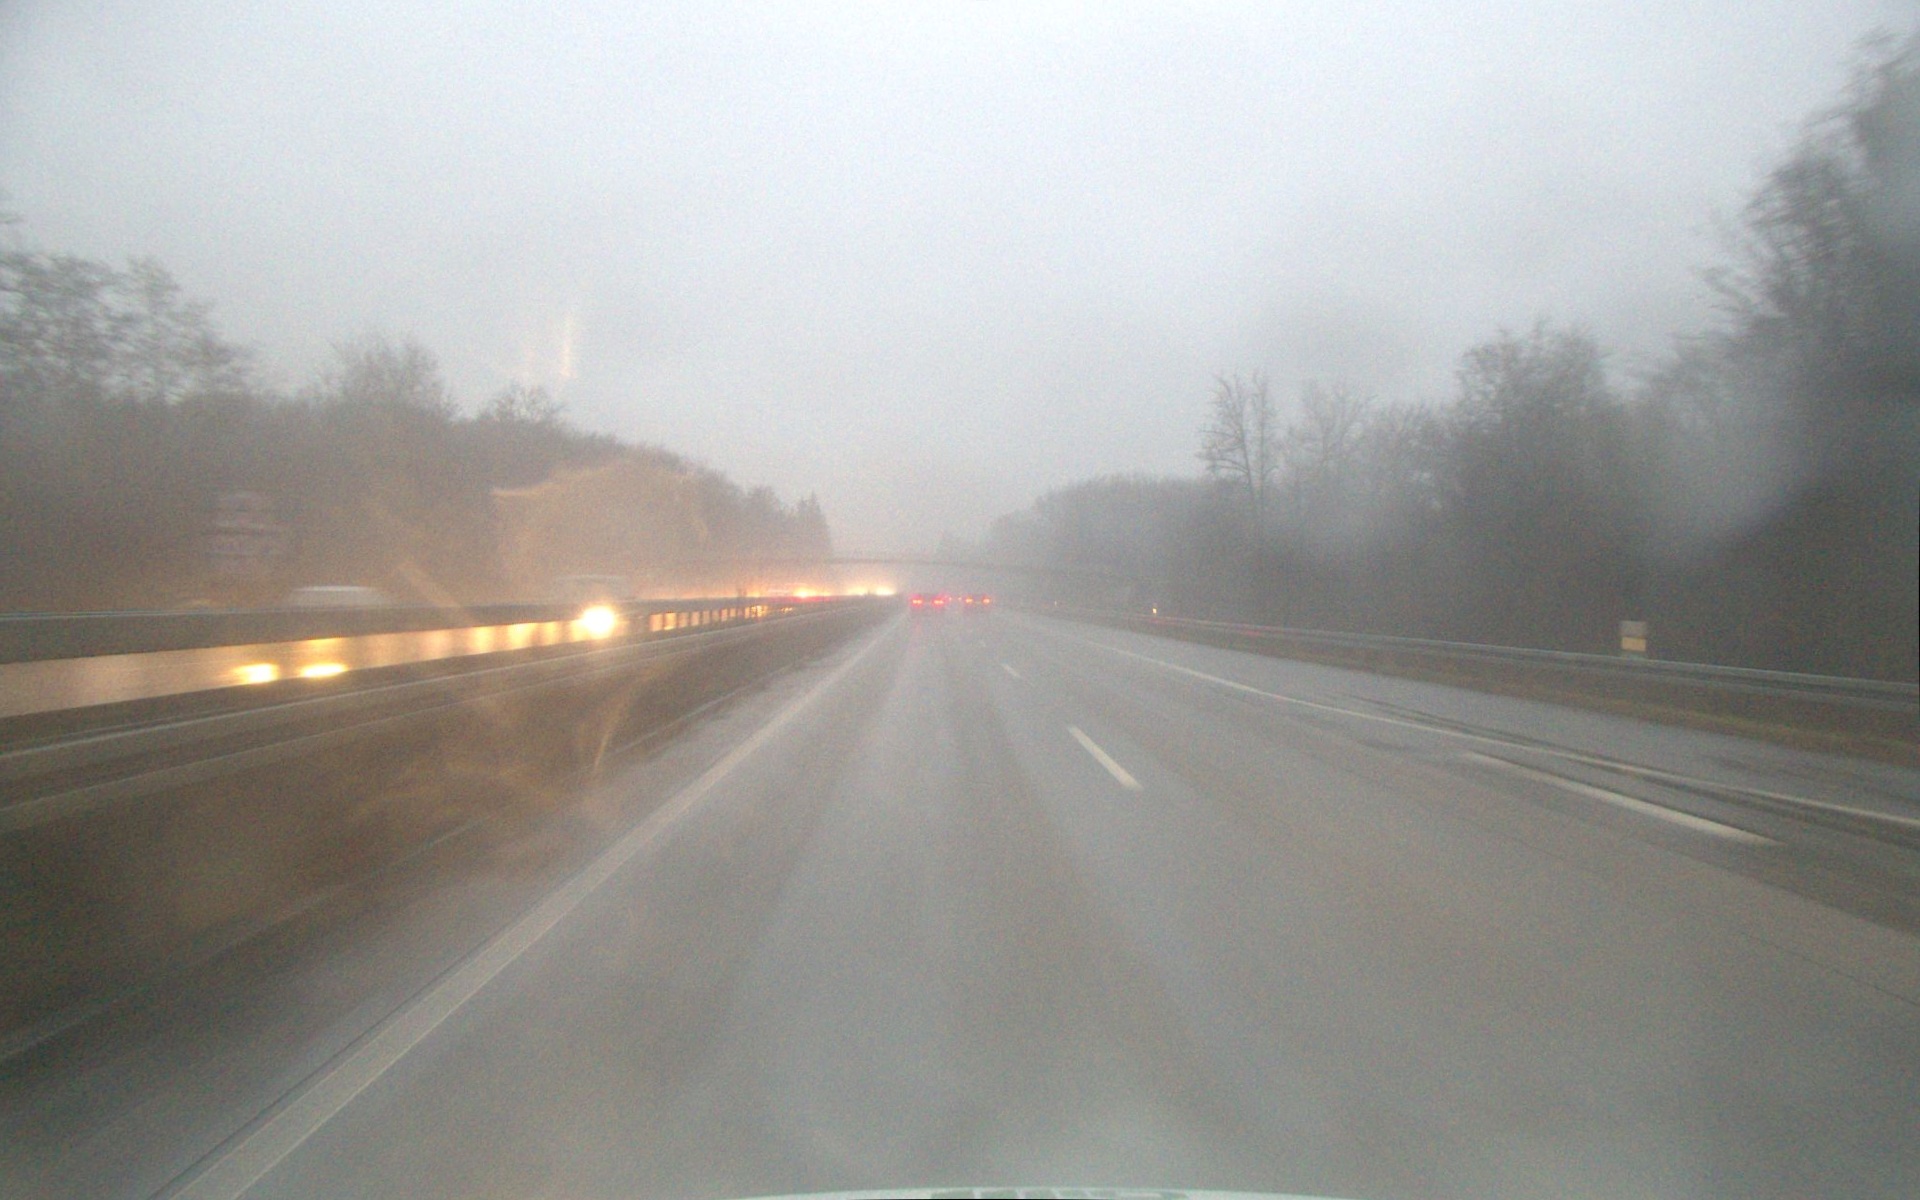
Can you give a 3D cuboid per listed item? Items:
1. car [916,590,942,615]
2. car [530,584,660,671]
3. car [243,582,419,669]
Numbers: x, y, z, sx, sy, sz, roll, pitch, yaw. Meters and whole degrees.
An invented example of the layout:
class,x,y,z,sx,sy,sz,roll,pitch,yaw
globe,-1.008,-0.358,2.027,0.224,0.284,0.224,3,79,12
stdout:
class,x,y,z,sx,sy,sz,roll,pitch,yaw
car,-1.722,0.145,91.502,1.424,1.367,3.489,0,0,-1
car,-7.453,0.528,34.185,1.692,1.616,4.416,2,0,-1
car,-11.991,0.448,31.831,1.692,1.486,4.416,2,0,-1
